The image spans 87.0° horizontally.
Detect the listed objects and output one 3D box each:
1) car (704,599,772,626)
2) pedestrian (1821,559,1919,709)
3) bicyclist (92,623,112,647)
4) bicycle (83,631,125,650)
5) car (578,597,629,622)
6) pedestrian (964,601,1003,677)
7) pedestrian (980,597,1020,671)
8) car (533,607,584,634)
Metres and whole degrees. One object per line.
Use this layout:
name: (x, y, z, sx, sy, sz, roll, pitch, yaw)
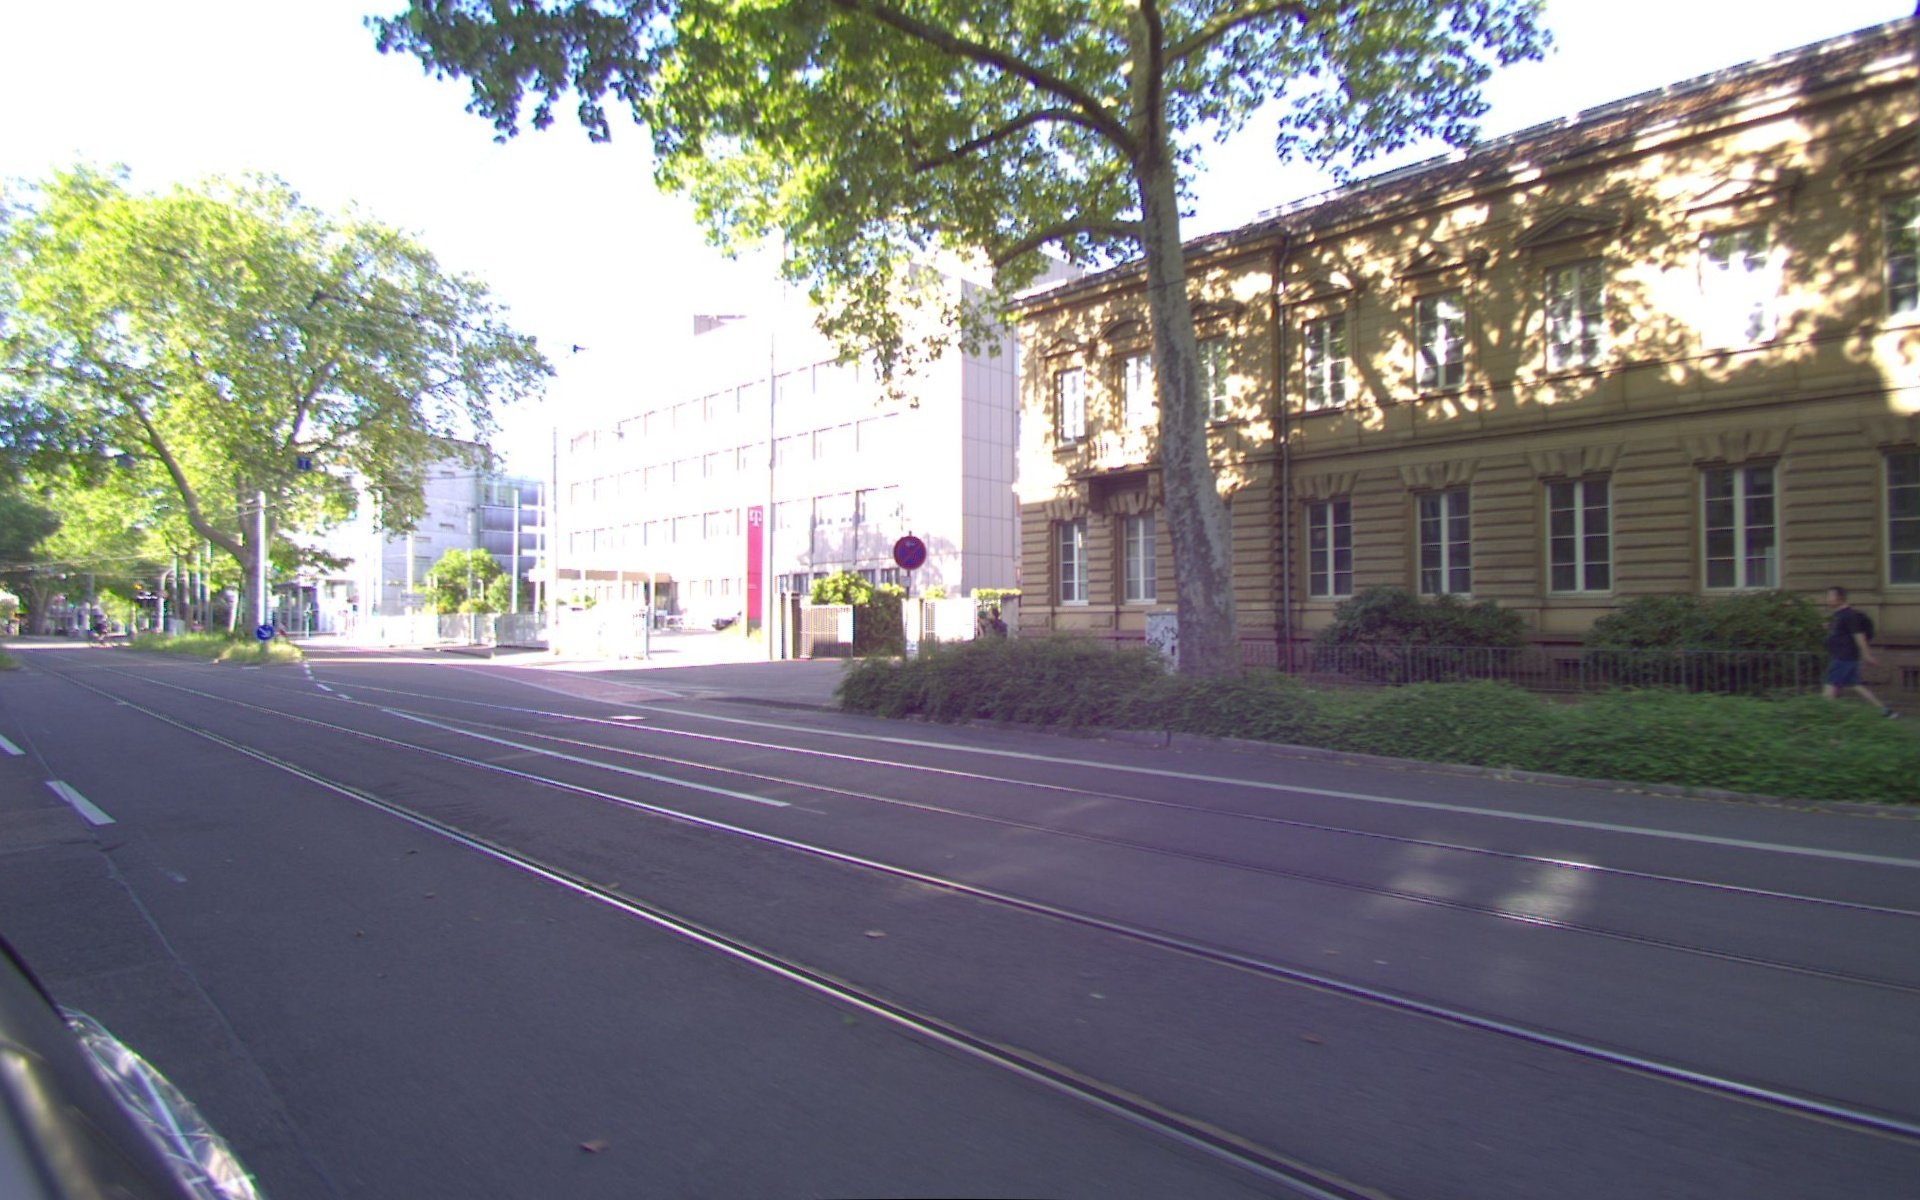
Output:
car: (-15.143, 0.849, 69.137, 1.853, 1.732, 4.220, -1, -1, 43)
pedestrian: (11.761, 0.430, 13.110, 0.836, 1.863, 0.712, -1, -1, 36)
bicyclist: (-56.546, 2.309, 66.704, 0.991, 1.588, 0.762, 0, -1, -36)
bicycle: (-56.473, 2.666, 66.756, 2.050, 1.137, 0.762, 0, -1, -36)
car: (-25.543, 0.685, 72.496, 4.000, 1.765, 1.827, -1, -1, 43)
pedestrian: (0.535, 0.891, 23.360, 0.655, 1.710, 0.628, -1, -1, 36)
pedestrian: (0.949, 0.790, 23.976, 0.661, 1.710, 0.665, -1, -1, 36)
car: (-28.155, 1.408, 70.879, 4.000, 1.831, 1.827, -1, -1, 43)
